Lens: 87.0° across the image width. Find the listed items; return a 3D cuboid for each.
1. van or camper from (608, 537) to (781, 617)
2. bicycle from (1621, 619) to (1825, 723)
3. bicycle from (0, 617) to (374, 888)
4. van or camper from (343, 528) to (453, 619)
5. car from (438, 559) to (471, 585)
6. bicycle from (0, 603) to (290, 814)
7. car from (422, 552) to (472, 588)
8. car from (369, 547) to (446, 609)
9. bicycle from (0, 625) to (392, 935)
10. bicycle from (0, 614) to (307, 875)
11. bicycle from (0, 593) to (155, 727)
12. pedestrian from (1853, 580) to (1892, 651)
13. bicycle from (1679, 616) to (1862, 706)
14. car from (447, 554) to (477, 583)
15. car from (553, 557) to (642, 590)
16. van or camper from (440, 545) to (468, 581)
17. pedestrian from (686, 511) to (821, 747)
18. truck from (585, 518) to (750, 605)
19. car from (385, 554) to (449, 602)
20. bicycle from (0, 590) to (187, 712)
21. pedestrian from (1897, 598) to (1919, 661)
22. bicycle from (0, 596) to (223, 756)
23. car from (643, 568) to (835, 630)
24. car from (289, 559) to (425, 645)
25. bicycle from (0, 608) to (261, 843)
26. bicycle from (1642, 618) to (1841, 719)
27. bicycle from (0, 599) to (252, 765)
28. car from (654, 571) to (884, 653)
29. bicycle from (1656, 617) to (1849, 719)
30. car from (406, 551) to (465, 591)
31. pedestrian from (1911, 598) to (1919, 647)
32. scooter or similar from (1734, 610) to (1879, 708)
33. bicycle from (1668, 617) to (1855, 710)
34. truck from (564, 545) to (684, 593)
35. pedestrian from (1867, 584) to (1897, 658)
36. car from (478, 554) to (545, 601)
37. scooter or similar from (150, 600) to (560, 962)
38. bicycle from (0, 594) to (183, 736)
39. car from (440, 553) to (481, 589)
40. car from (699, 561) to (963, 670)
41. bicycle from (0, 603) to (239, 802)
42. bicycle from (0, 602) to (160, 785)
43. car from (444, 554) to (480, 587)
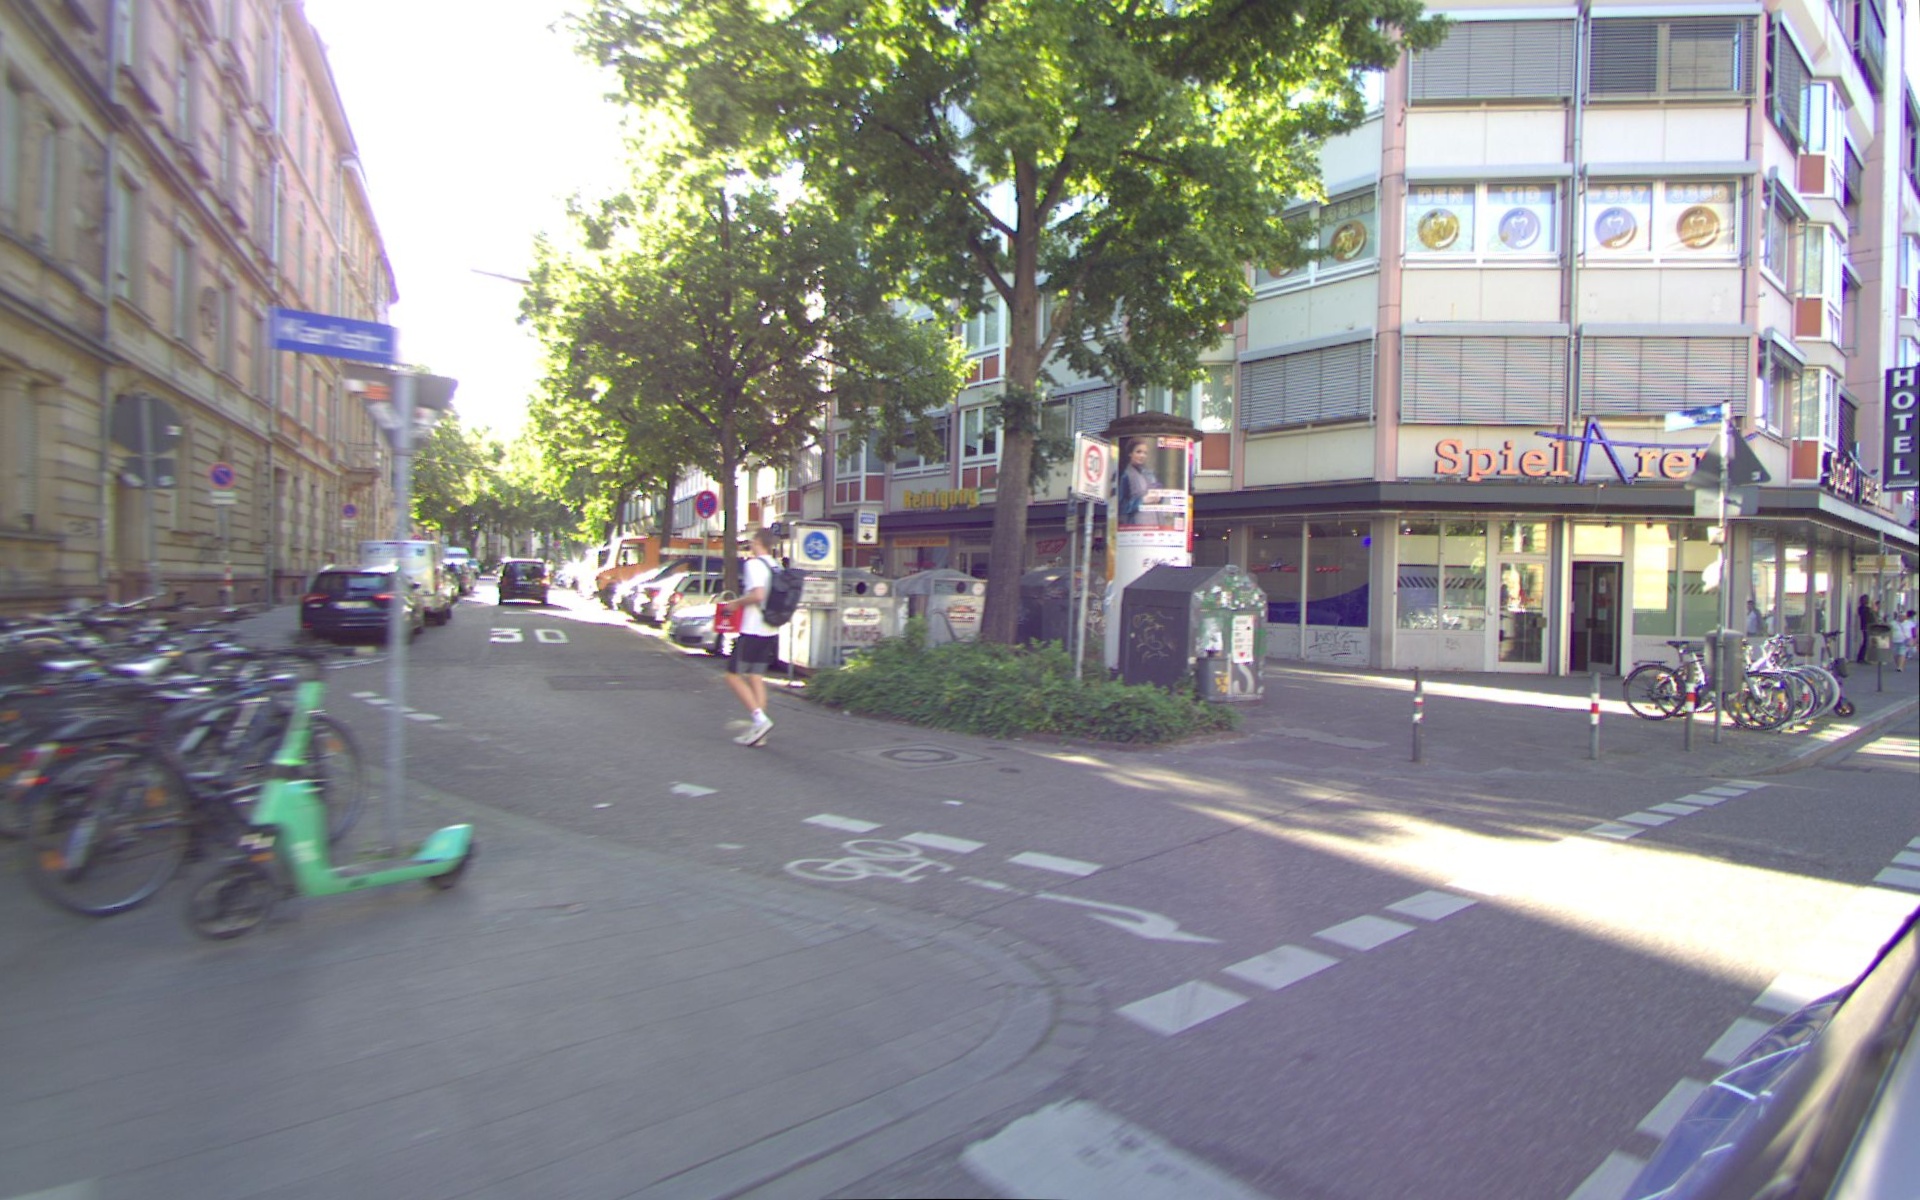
[{"bbox_3d":[-7.718,-0.636,29.342,4.636,2.165,2.095,1,1,-21],"label":"van or camper"},{"bbox_3d":[9.515,0.844,12.692,0.554,1.120,1.949,1,1,-41],"label":"bicycle"},{"bbox_3d":[-3.975,0.687,5.381,0.437,1.129,1.810,1,1,9],"label":"bicycle"},{"bbox_3d":[-13.688,-0.629,24.878,1.917,2.005,4.398,1,1,-24],"label":"van or camper"},{"bbox_3d":[-37.640,-2.098,75.412,1.958,1.822,4.008,0,2,-24],"label":"car"},{"bbox_3d":[-5.262,0.607,6.557,0.437,1.129,1.810,1,1,8],"label":"bicycle"},{"bbox_3d":[-24.535,-1.397,48.472,1.958,1.594,4.006,0,-1,-25],"label":"car"},{"bbox_3d":[-16.469,-0.678,30.324,1.793,1.723,4.018,-1,2,-26],"label":"car"},{"bbox_3d":[-3.583,0.727,4.877,0.437,1.129,1.810,1,1,9],"label":"bicycle"},{"bbox_3d":[-4.447,0.672,5.480,0.437,1.129,1.810,1,1,8],"label":"bicycle"},{"bbox_3d":[-8.283,0.507,9.009,0.438,1.129,1.804,1,1,17],"label":"bicycle"},{"bbox_3d":[23.624,0.389,26.206,0.492,1.791,0.631,1,1,-40],"label":"pedestrian"},{"bbox_3d":[11.502,0.828,14.419,0.554,1.120,1.949,1,1,-41],"label":"bicycle"},{"bbox_3d":[-40.022,-2.547,81.421,1.958,2.204,4.008,0,2,-24],"label":"car"},{"bbox_3d":[-23.775,-1.728,66.445,5.325,2.039,2.484,0,-1,-24],"label":"car"},{"bbox_3d":[-46.129,-3.376,92.326,1.958,3.151,5.384,1,2,-24],"label":"van or camper"},{"bbox_3d":[-1.846,0.236,9.097,0.931,2.009,0.714,1,0,19],"label":"pedestrian"},{"bbox_3d":[-10.638,-1.345,36.837,5.463,2.948,2.107,1,1,-25],"label":"truck"},{"bbox_3d":[-18.940,-0.793,35.453,1.793,1.585,4.018,-1,2,-26],"label":"car"},{"bbox_3d":[-8.713,0.480,9.924,1.782,1.129,0.444,0,1,-40],"label":"bicycle"},{"bbox_3d":[23.396,0.719,24.702,0.643,1.501,0.637,0,3,-41],"label":"pedestrian"},{"bbox_3d":[-6.981,0.548,8.239,0.437,1.129,1.810,1,1,8],"label":"bicycle"},{"bbox_3d":[-5.492,-0.042,25.169,4.369,1.420,1.932,0,1,-24],"label":"car"},{"bbox_3d":[-11.420,-0.032,19.414,1.745,1.454,4.199,-1,2,-24],"label":"car"},{"bbox_3d":[-4.896,0.634,5.715,0.437,1.129,1.810,1,1,8],"label":"bicycle"},{"bbox_3d":[10.034,0.843,13.066,0.554,1.120,1.949,1,1,-41],"label":"bicycle"},{"bbox_3d":[-6.538,0.569,7.975,0.437,1.129,1.810,1,1,8],"label":"bicycle"},{"bbox_3d":[-3.621,0.192,19.128,3.917,1.414,2.004,0,1,-25],"label":"car"},{"bbox_3d":[10.579,0.865,13.579,0.617,1.180,1.949,1,1,-41],"label":"bicycle"},{"bbox_3d":[-21.374,-1.144,41.358,1.958,1.486,4.006,0,-1,-25],"label":"car"},{"bbox_3d":[29.658,0.710,30.899,0.694,1.490,0.740,1,3,-39],"label":"pedestrian"},{"bbox_3d":[12.187,0.815,14.601,0.581,1.244,1.482,1,2,-39],"label":"scooter or similar"},{"bbox_3d":[11.054,0.833,14.014,0.554,1.120,1.949,1,1,-41],"label":"bicycle"},{"bbox_3d":[-16.993,-1.542,51.228,5.464,2.290,2.107,1,1,-26],"label":"truck"},{"bbox_3d":[24.175,0.541,26.540,0.798,1.872,0.451,1,1,-43],"label":"pedestrian"},{"bbox_3d":[-16.297,-0.810,36.710,1.959,1.575,4.006,1,1,-28],"label":"car"},{"bbox_3d":[-2.539,0.659,4.422,0.389,1.305,1.504,1,1,33],"label":"scooter or similar"},{"bbox_3d":[-7.795,0.526,8.728,0.438,1.129,1.804,1,1,17],"label":"bicycle"},{"bbox_3d":[-29.699,-1.742,60.271,1.958,2.038,4.008,0,2,-24],"label":"car"},{"bbox_3d":[-2.150,0.211,16.754,3.917,1.623,2.004,0,1,-25],"label":"car"},{"bbox_3d":[-5.730,0.605,6.682,0.437,1.129,1.810,1,1,8],"label":"bicycle"},{"bbox_3d":[-6.250,0.598,6.594,0.437,1.129,1.810,1,1,8],"label":"bicycle"},{"bbox_3d":[-32.652,-1.935,66.408,1.958,2.038,4.008,0,2,-24],"label":"car"}]
